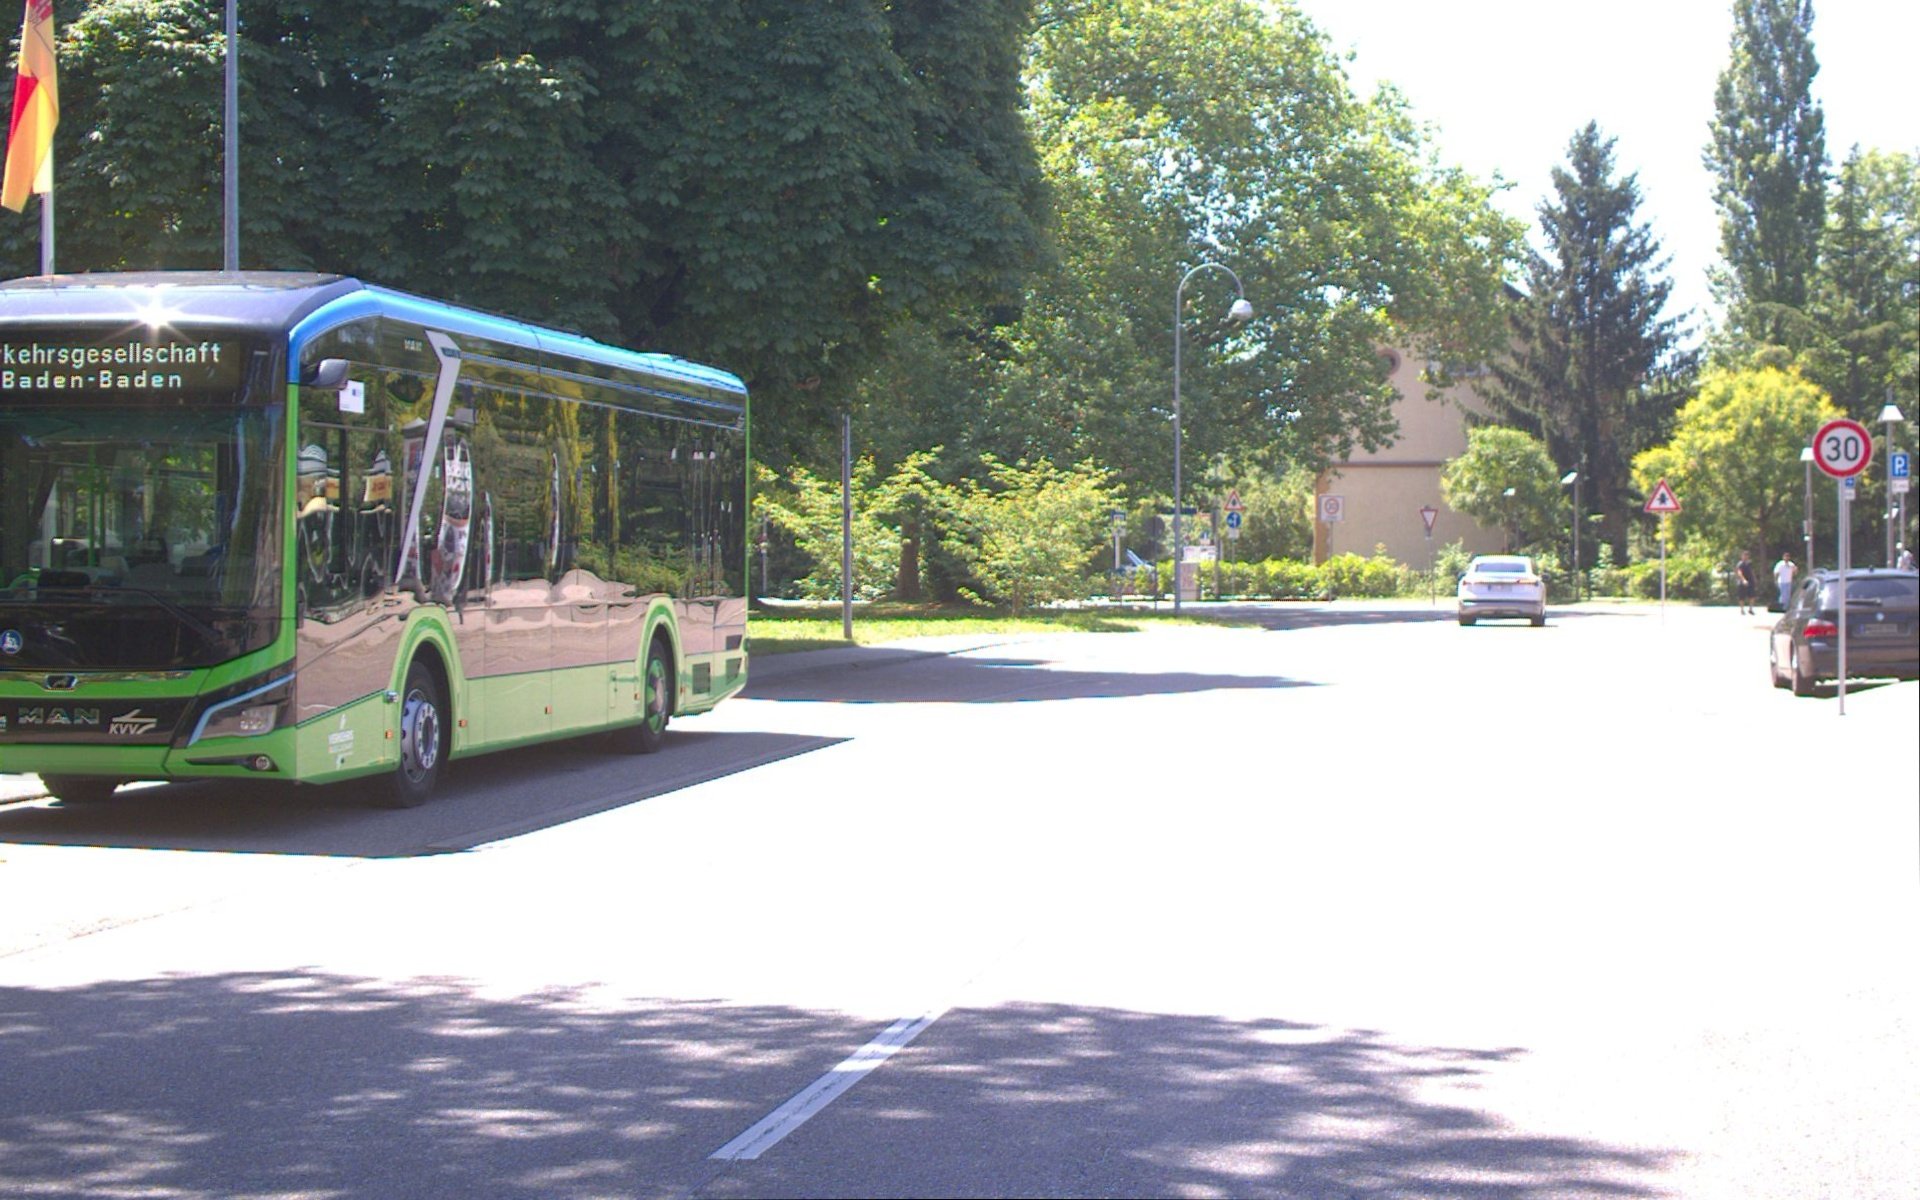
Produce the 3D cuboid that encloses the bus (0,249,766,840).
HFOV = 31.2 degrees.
[{"bbox_3d":[-4.127,-0.421,25.383,2.810,3.271,12.421,0,1,9],"label":"bus"}]

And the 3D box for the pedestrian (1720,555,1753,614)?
[{"bbox_3d":[21.825,-0.435,96.619,0.637,1.644,0.749,1,-1,37],"label":"pedestrian"}]

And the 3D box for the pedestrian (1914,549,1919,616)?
[{"bbox_3d":[28.285,-0.512,100.221,0.855,1.959,0.805,1,1,21],"label":"pedestrian"}]

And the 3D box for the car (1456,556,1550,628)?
[{"bbox_3d":[12.751,-0.213,80.503,1.983,1.621,4.776,0,1,11],"label":"car"}]

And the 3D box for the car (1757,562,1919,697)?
[{"bbox_3d":[10.832,0.315,41.488,1.927,1.455,4.723,-2,0,8],"label":"car"}]

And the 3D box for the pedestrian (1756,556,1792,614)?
[{"bbox_3d":[23.240,-0.429,98.120,0.721,1.644,0.749,1,-1,37],"label":"pedestrian"}]
